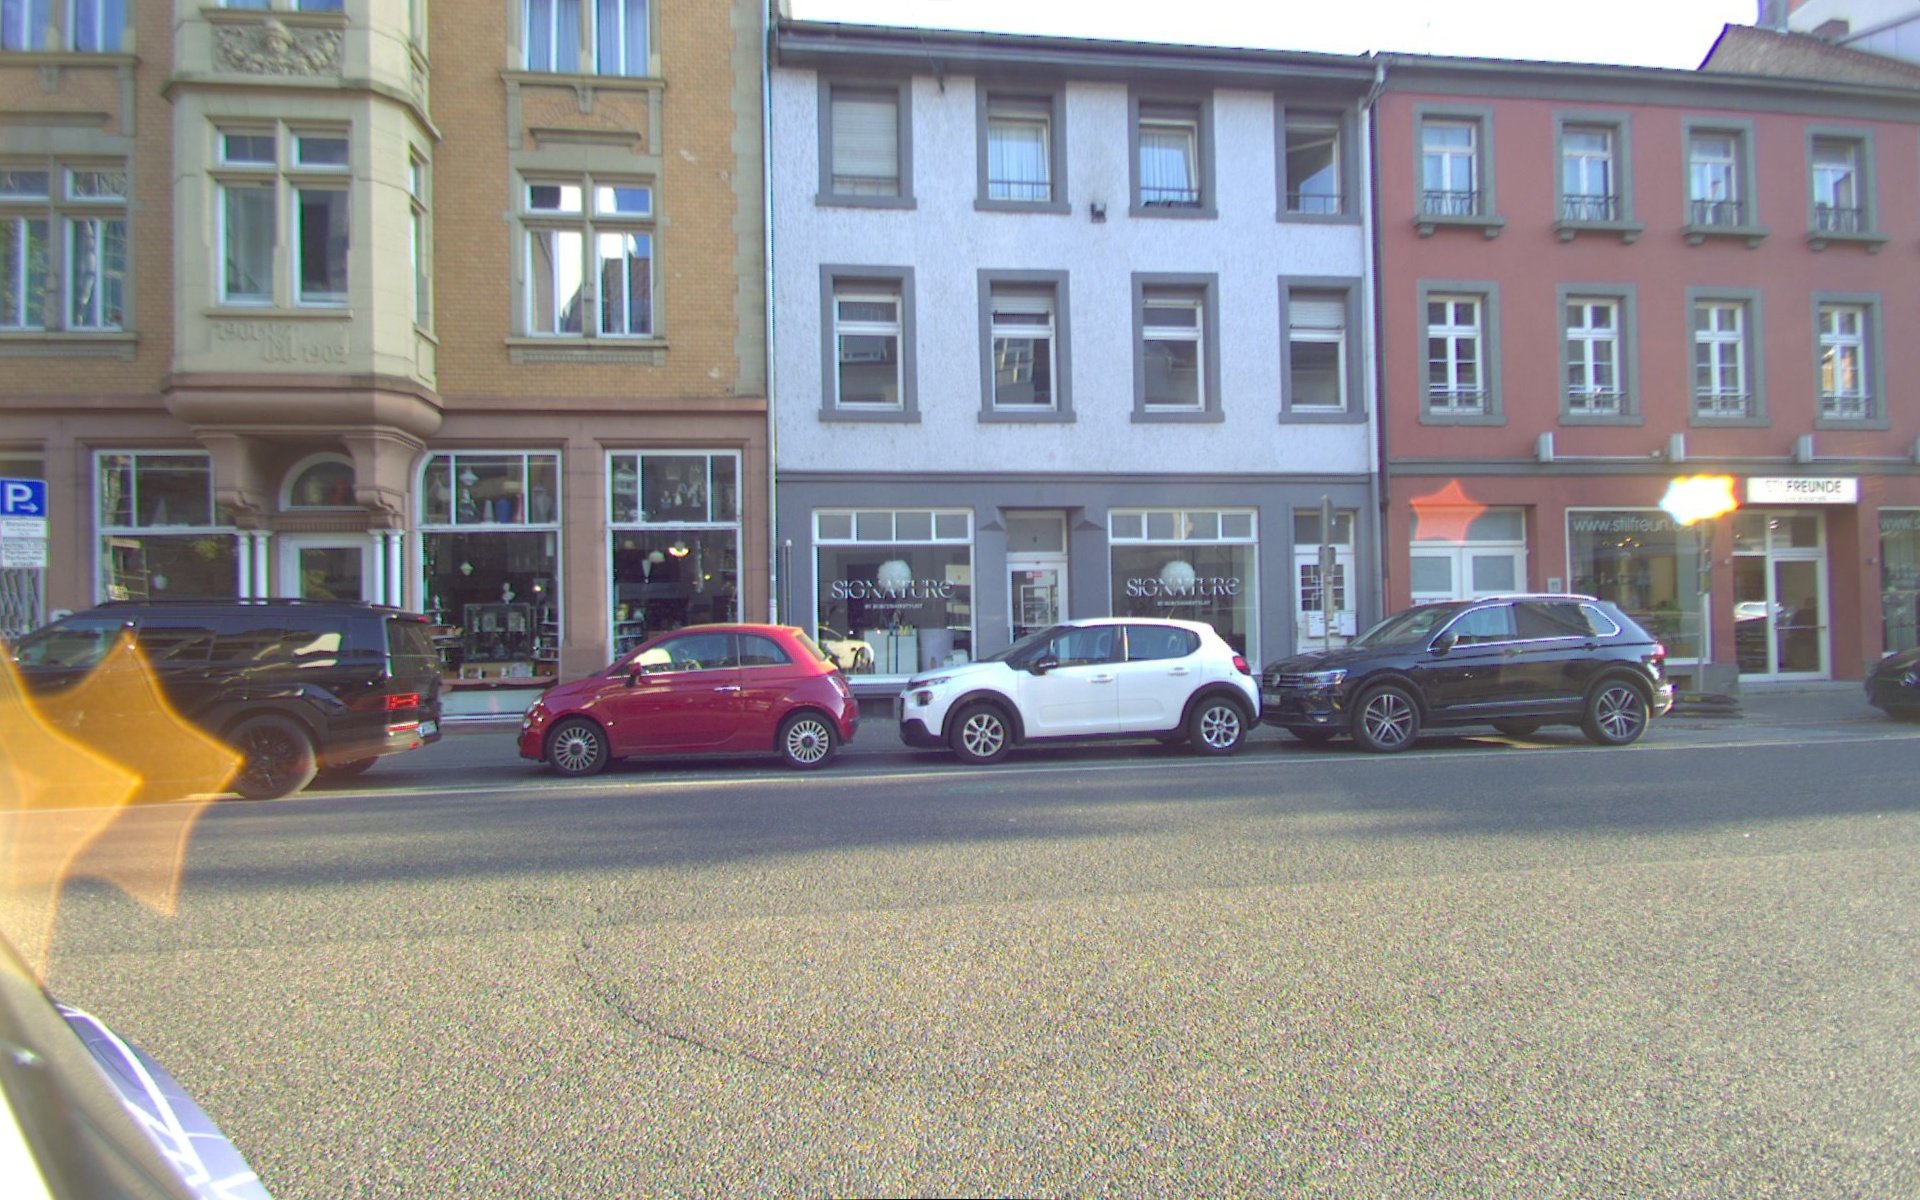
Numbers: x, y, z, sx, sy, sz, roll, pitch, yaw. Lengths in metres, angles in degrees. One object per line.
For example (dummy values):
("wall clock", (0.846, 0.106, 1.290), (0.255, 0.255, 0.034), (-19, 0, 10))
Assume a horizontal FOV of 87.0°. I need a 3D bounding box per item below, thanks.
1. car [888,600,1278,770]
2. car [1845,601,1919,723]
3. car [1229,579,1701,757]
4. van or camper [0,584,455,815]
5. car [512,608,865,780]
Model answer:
("car", (1.215, 0.880, 11.039), (3.873, 1.585, 1.669), (-1, -3, -7))
("car", (13.967, 0.719, 12.755), (4.340, 1.499, 1.693), (-1, -4, -8))
("car", (5.526, 0.730, 11.369), (4.389, 1.711, 1.803), (-1, -4, -8))
("van or camper", (-7.251, 0.850, 9.257), (4.386, 1.821, 1.900), (-1, -3, -13))
("car", (-2.727, 0.946, 10.687), (3.369, 1.582, 1.532), (-1, -3, -6))
